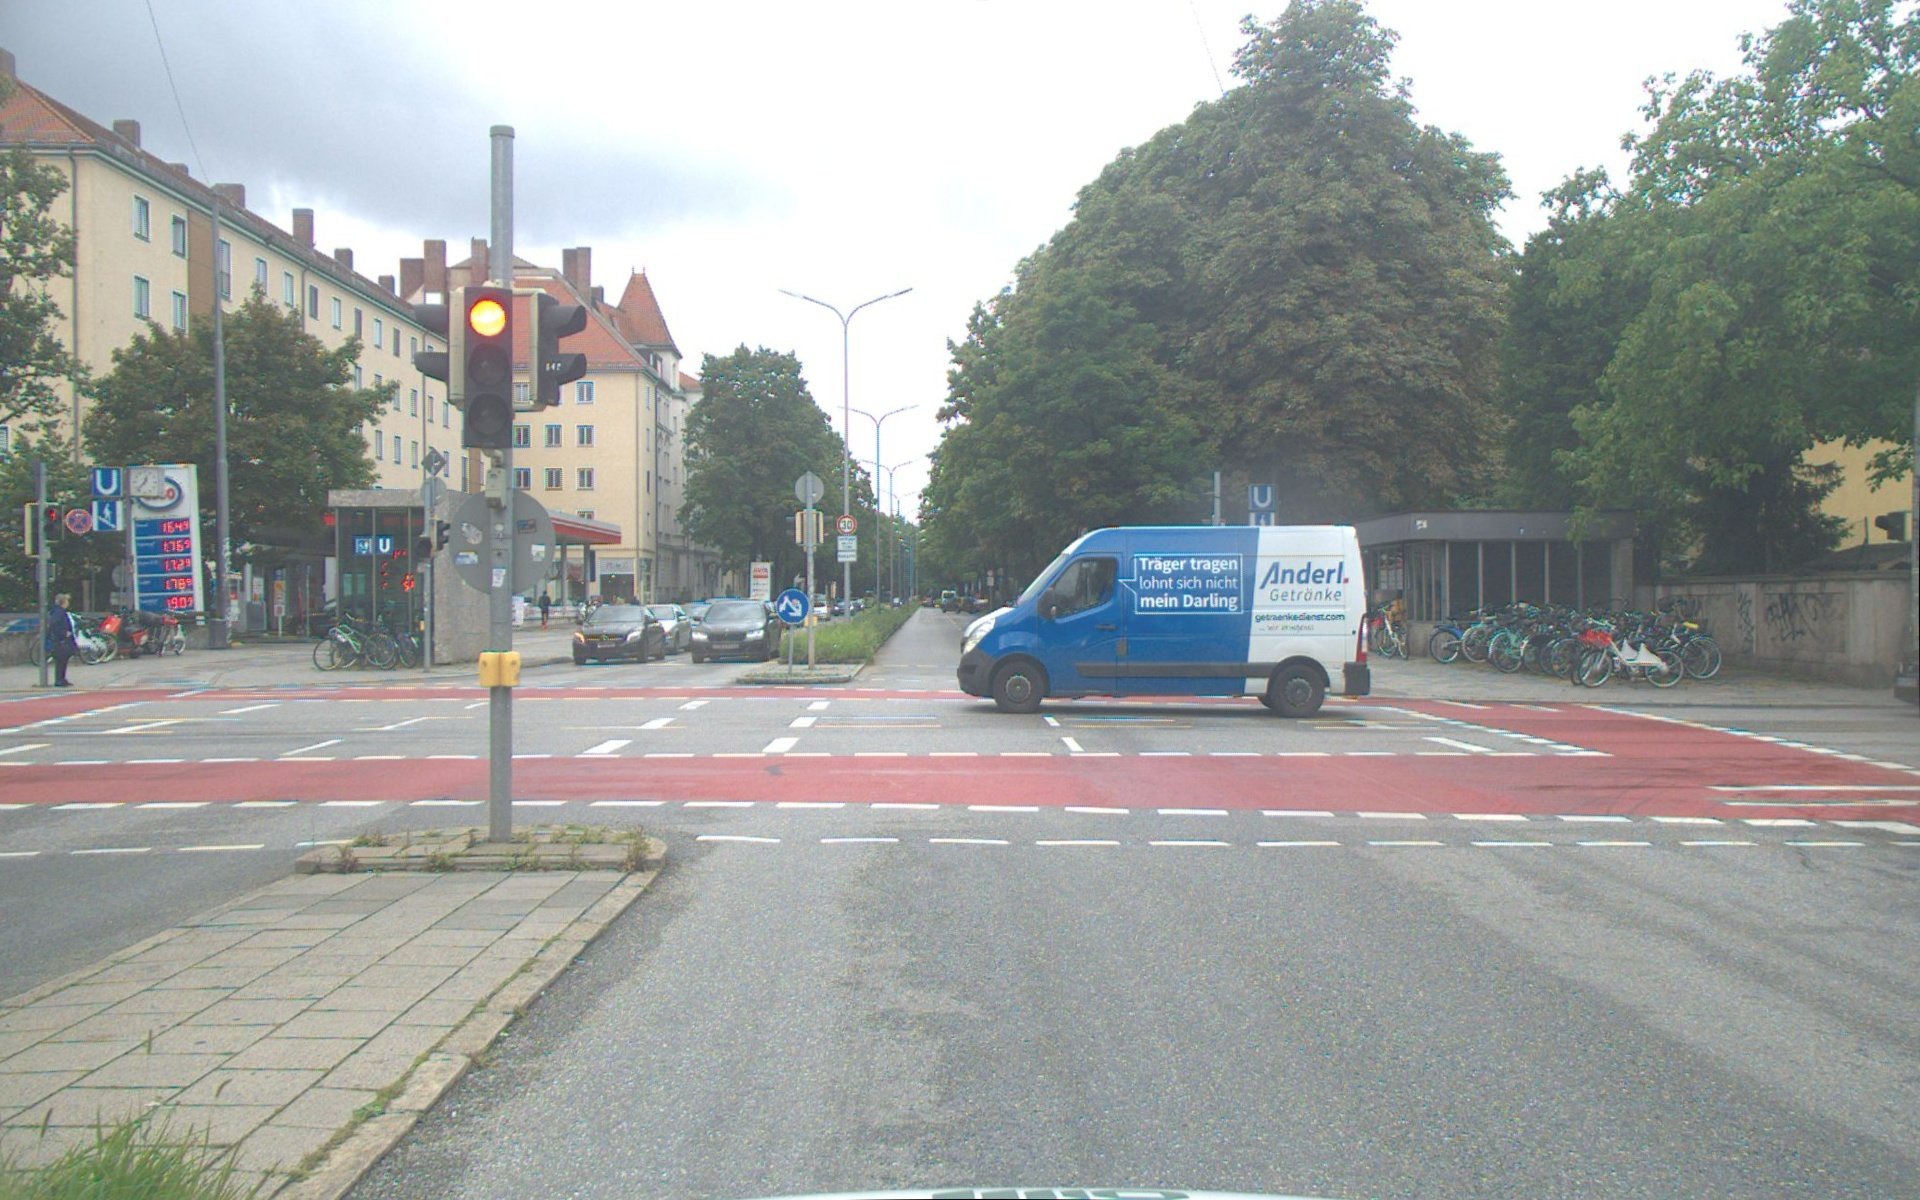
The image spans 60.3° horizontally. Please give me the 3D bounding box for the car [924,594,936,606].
[{"bbox_3d":[-4.578,-0.013,252.666,1.819,1.713,3.999,0,0,-1],"label":"car"}]

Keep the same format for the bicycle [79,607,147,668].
[{"bbox_3d":[-18.425,0.789,36.015,0.596,1.257,2.183,0,0,-7],"label":"bicycle"}]

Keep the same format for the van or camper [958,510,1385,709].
[{"bbox_3d":[2.747,0.123,22.209,5.436,2.512,2.068,0,0,3],"label":"van or camper"}]

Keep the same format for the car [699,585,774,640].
[{"bbox_3d":[-6.452,0.335,48.093,1.724,1.519,3.999,0,0,-1],"label":"car"}]

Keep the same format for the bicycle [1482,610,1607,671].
[{"bbox_3d":[10.833,0.742,30.679,2.097,1.105,0.603,0,0,7],"label":"bicycle"}]

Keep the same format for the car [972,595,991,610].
[{"bbox_3d":[2.108,0.208,161.552,1.708,1.452,3.898,0,0,-1],"label":"car"}]

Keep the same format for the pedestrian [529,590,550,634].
[{"bbox_3d":[-19.893,0.562,78.291,0.715,2.049,0.834,1,-1,-1],"label":"pedestrian"}]

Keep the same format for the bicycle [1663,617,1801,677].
[{"bbox_3d":[13.483,0.822,28.927,2.097,1.032,0.634,0,0,7],"label":"bicycle"}]

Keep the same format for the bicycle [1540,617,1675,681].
[{"bbox_3d":[11.174,0.844,28.586,2.097,1.089,0.603,0,0,7],"label":"bicycle"}]

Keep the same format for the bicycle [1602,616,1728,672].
[{"bbox_3d":[13.312,0.829,31.270,2.097,1.032,0.634,0,0,7],"label":"bicycle"}]

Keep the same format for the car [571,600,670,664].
[{"bbox_3d":[-8.448,0.765,41.411,1.724,1.486,3.999,0,0,-1],"label":"car"}]

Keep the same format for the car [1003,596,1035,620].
[{"bbox_3d":[3.523,0.448,99.756,1.708,1.387,3.805,0,0,-1],"label":"car"}]

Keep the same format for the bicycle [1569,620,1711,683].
[{"bbox_3d":[11.406,0.868,27.786,2.097,1.032,0.634,0,0,7],"label":"bicycle"}]

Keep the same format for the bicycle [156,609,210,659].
[{"bbox_3d":[-18.839,0.813,40.153,0.596,1.165,1.962,0,0,-7],"label":"bicycle"}]

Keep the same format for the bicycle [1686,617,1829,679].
[{"bbox_3d":[13.548,0.818,28.131,2.097,1.032,0.634,0,0,7],"label":"bicycle"}]

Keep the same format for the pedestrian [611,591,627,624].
[{"bbox_3d":[-17.111,0.372,83.025,0.682,1.666,0.738,0,0,-1],"label":"pedestrian"}]

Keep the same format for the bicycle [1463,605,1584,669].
[{"bbox_3d":[10.691,0.694,31.414,2.097,1.199,0.603,0,0,7],"label":"bicycle"}]

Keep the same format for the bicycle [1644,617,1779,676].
[{"bbox_3d":[13.474,0.828,29.694,2.097,1.032,0.634,0,0,7],"label":"bicycle"}]

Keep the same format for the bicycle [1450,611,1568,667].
[{"bbox_3d":[10.648,0.756,32.115,2.097,1.080,0.603,0,0,7],"label":"bicycle"}]

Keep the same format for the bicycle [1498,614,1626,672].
[{"bbox_3d":[10.886,0.778,29.950,2.097,1.032,0.603,0,0,7],"label":"bicycle"}]

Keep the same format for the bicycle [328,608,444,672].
[{"bbox_3d":[-12.289,0.857,35.431,2.238,1.327,0.694,0,0,0],"label":"bicycle"}]

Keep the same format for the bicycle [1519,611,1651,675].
[{"bbox_3d":[11.026,0.755,29.239,2.097,1.120,0.603,0,0,7],"label":"bicycle"}]

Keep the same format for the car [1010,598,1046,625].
[{"bbox_3d":[3.685,0.599,89.694,1.708,1.387,3.805,0,0,-1],"label":"car"}]

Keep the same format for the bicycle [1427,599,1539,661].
[{"bbox_3d":[10.647,0.611,33.715,2.097,1.240,0.603,0,0,7],"label":"bicycle"}]

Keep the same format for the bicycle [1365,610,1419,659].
[{"bbox_3d":[9.442,0.737,36.206,0.545,1.032,2.014,0,0,-3],"label":"bicycle"}]

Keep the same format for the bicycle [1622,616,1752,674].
[{"bbox_3d":[13.380,0.828,30.487,2.097,1.032,0.634,0,0,7],"label":"bicycle"}]

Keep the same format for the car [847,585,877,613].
[{"bbox_3d":[-5.043,-0.058,85.387,1.438,1.423,3.699,0,0,-1],"label":"car"}]

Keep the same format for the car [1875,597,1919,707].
[{"bbox_3d":[14.331,0.669,21.636,3.757,1.422,1.696,0,0,4],"label":"car"}]

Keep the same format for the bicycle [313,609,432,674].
[{"bbox_3d":[-12.299,0.857,34.651,2.225,1.327,0.704,0,0,0],"label":"bicycle"}]

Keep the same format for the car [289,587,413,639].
[{"bbox_3d":[-22.578,0.476,61.442,3.908,1.870,1.879,0,0,-4],"label":"car"}]

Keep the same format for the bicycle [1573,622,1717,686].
[{"bbox_3d":[11.222,0.881,27.158,2.097,1.032,0.603,0,0,7],"label":"bicycle"}]

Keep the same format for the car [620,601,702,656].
[{"bbox_3d":[-8.682,0.795,48.316,1.724,1.486,3.999,0,0,-1],"label":"car"}]

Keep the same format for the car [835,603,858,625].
[{"bbox_3d":[-10.196,1.244,148.899,1.913,1.855,3.998,0,0,-2],"label":"car"}]

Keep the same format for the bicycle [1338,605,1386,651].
[{"bbox_3d":[9.443,0.638,38.940,0.545,1.032,2.014,0,0,-3],"label":"bicycle"}]

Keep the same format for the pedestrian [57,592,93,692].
[{"bbox_3d":[-15.523,0.727,29.003,0.527,1.725,0.572,0,0,-27],"label":"pedestrian"}]

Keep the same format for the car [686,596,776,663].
[{"bbox_3d":[-5.518,0.683,40.240,1.724,1.519,3.999,0,0,-1],"label":"car"}]

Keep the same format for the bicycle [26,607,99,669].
[{"bbox_3d":[-19.055,0.792,35.174,0.596,1.257,2.183,0,0,-7],"label":"bicycle"}]

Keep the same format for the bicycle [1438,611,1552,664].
[{"bbox_3d":[10.660,0.742,32.996,2.097,1.032,0.603,0,0,7],"label":"bicycle"}]
